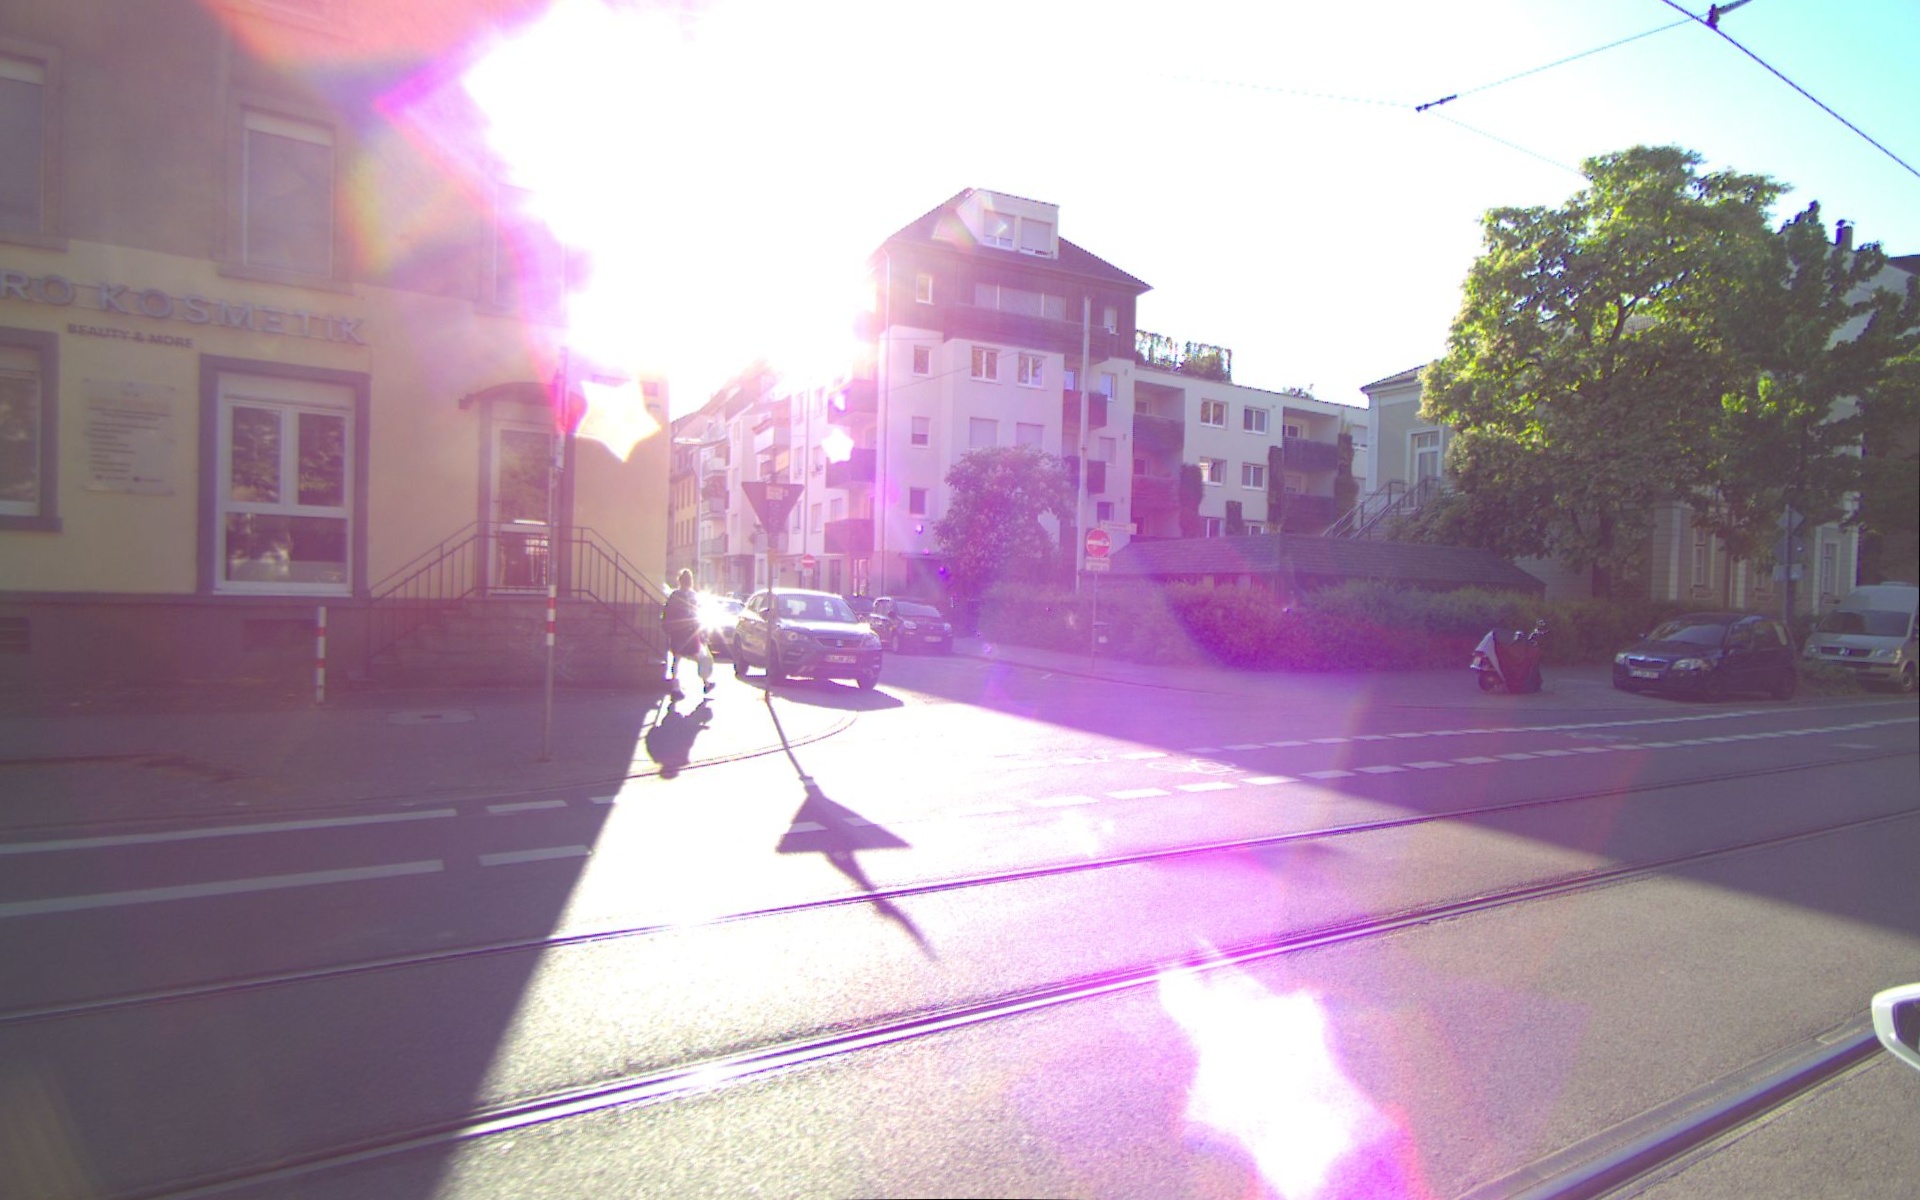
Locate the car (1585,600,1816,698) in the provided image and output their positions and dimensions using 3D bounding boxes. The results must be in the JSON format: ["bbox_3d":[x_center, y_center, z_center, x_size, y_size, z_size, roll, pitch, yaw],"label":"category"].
[{"bbox_3d":[14.464,0.911,19.603,4.208,1.713,1.984,1,0,-28],"label":"car"}]

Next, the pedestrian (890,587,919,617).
[{"bbox_3d":[-2.128,0.076,38.512,0.493,1.122,1.789,1,0,-24],"label":"pedestrian"}]

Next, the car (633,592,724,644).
[{"bbox_3d":[-8.475,0.502,30.033,1.940,1.407,4.048,1,0,-26],"label":"car"}]

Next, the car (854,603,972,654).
[{"bbox_3d":[-1.417,0.775,28.354,1.857,1.270,4.048,1,0,-26],"label":"car"}]

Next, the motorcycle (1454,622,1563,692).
[{"bbox_3d":[10.173,1.028,18.618,2.122,1.155,0.670,-1,4,-28],"label":"motorcycle"}]

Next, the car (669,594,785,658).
[{"bbox_3d":[-5.826,0.597,24.755,1.940,1.408,4.048,1,0,-26],"label":"car"}]

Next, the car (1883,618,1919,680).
[{"bbox_3d":[26.447,1.319,26.805,3.665,1.560,1.676,1,0,-31],"label":"car"}]

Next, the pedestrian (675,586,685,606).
[{"bbox_3d":[-23.776,-0.371,85.285,0.642,1.683,0.646,1,0,-27],"label":"pedestrian"}]

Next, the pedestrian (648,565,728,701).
[{"bbox_3d":[-3.400,0.407,12.623,0.739,1.607,0.774,4,-1,-6],"label":"pedestrian"}]

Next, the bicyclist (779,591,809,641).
[{"bbox_3d":[-4.899,0.456,29.627,0.639,1.453,0.800,1,0,-27],"label":"bicyclist"}]

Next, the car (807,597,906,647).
[{"bbox_3d":[-3.416,0.670,32.500,1.857,1.469,4.048,1,0,-26],"label":"car"}]

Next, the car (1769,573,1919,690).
[{"bbox_3d":[22.017,0.721,24.203,5.284,2.542,2.291,1,0,-32],"label":"car"}]

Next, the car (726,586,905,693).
[{"bbox_3d":[-2.641,0.604,17.545,1.940,1.639,4.048,1,0,-26],"label":"car"}]

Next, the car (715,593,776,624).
[{"bbox_3d":[-10.106,0.386,47.156,1.857,1.325,4.048,1,0,-26],"label":"car"}]

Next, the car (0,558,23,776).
[{"bbox_3d":[-8.528,0.431,5.357,4.888,1.512,1.760,1,1,-33],"label":"car"}]
